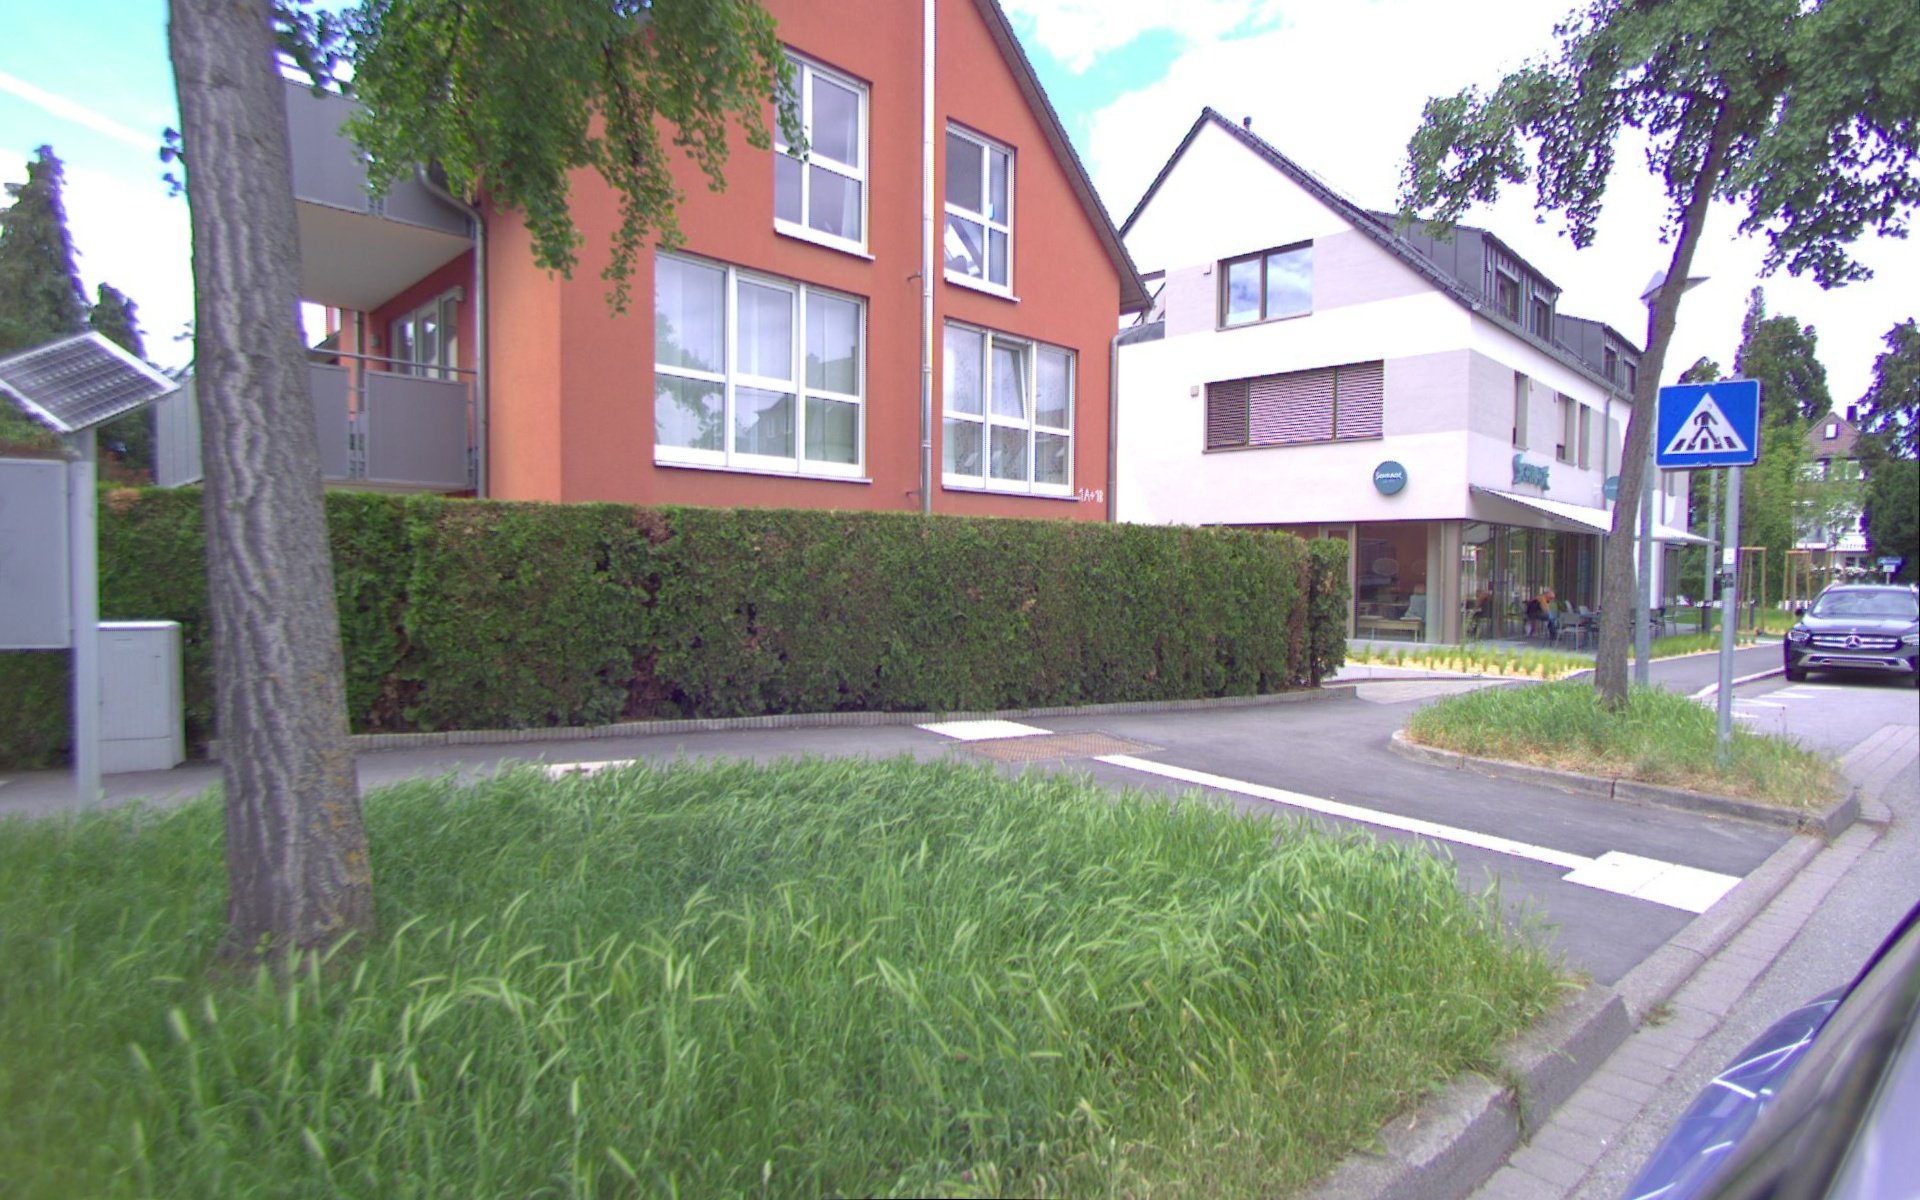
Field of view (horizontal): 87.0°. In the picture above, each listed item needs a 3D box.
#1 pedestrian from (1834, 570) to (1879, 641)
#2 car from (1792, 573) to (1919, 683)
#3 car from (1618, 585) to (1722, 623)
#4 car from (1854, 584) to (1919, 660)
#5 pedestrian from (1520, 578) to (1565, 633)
[{"bbox_3d":[21.727,0.121,24.526,0.648,1.689,0.677,-1,3,-40],"label":"pedestrian"},{"bbox_3d":[15.670,0.379,17.167,4.391,1.657,1.849,-1,1,-43],"label":"car"},{"bbox_3d":[34.092,0.192,48.647,3.830,1.616,1.847,-3,-1,43],"label":"car"},{"bbox_3d":[19.909,0.408,20.938,3.769,1.470,1.709,-1,1,-42],"label":"car"},{"bbox_3d":[13.677,0.119,23.772,0.751,1.253,0.681,2,2,44],"label":"pedestrian"}]
